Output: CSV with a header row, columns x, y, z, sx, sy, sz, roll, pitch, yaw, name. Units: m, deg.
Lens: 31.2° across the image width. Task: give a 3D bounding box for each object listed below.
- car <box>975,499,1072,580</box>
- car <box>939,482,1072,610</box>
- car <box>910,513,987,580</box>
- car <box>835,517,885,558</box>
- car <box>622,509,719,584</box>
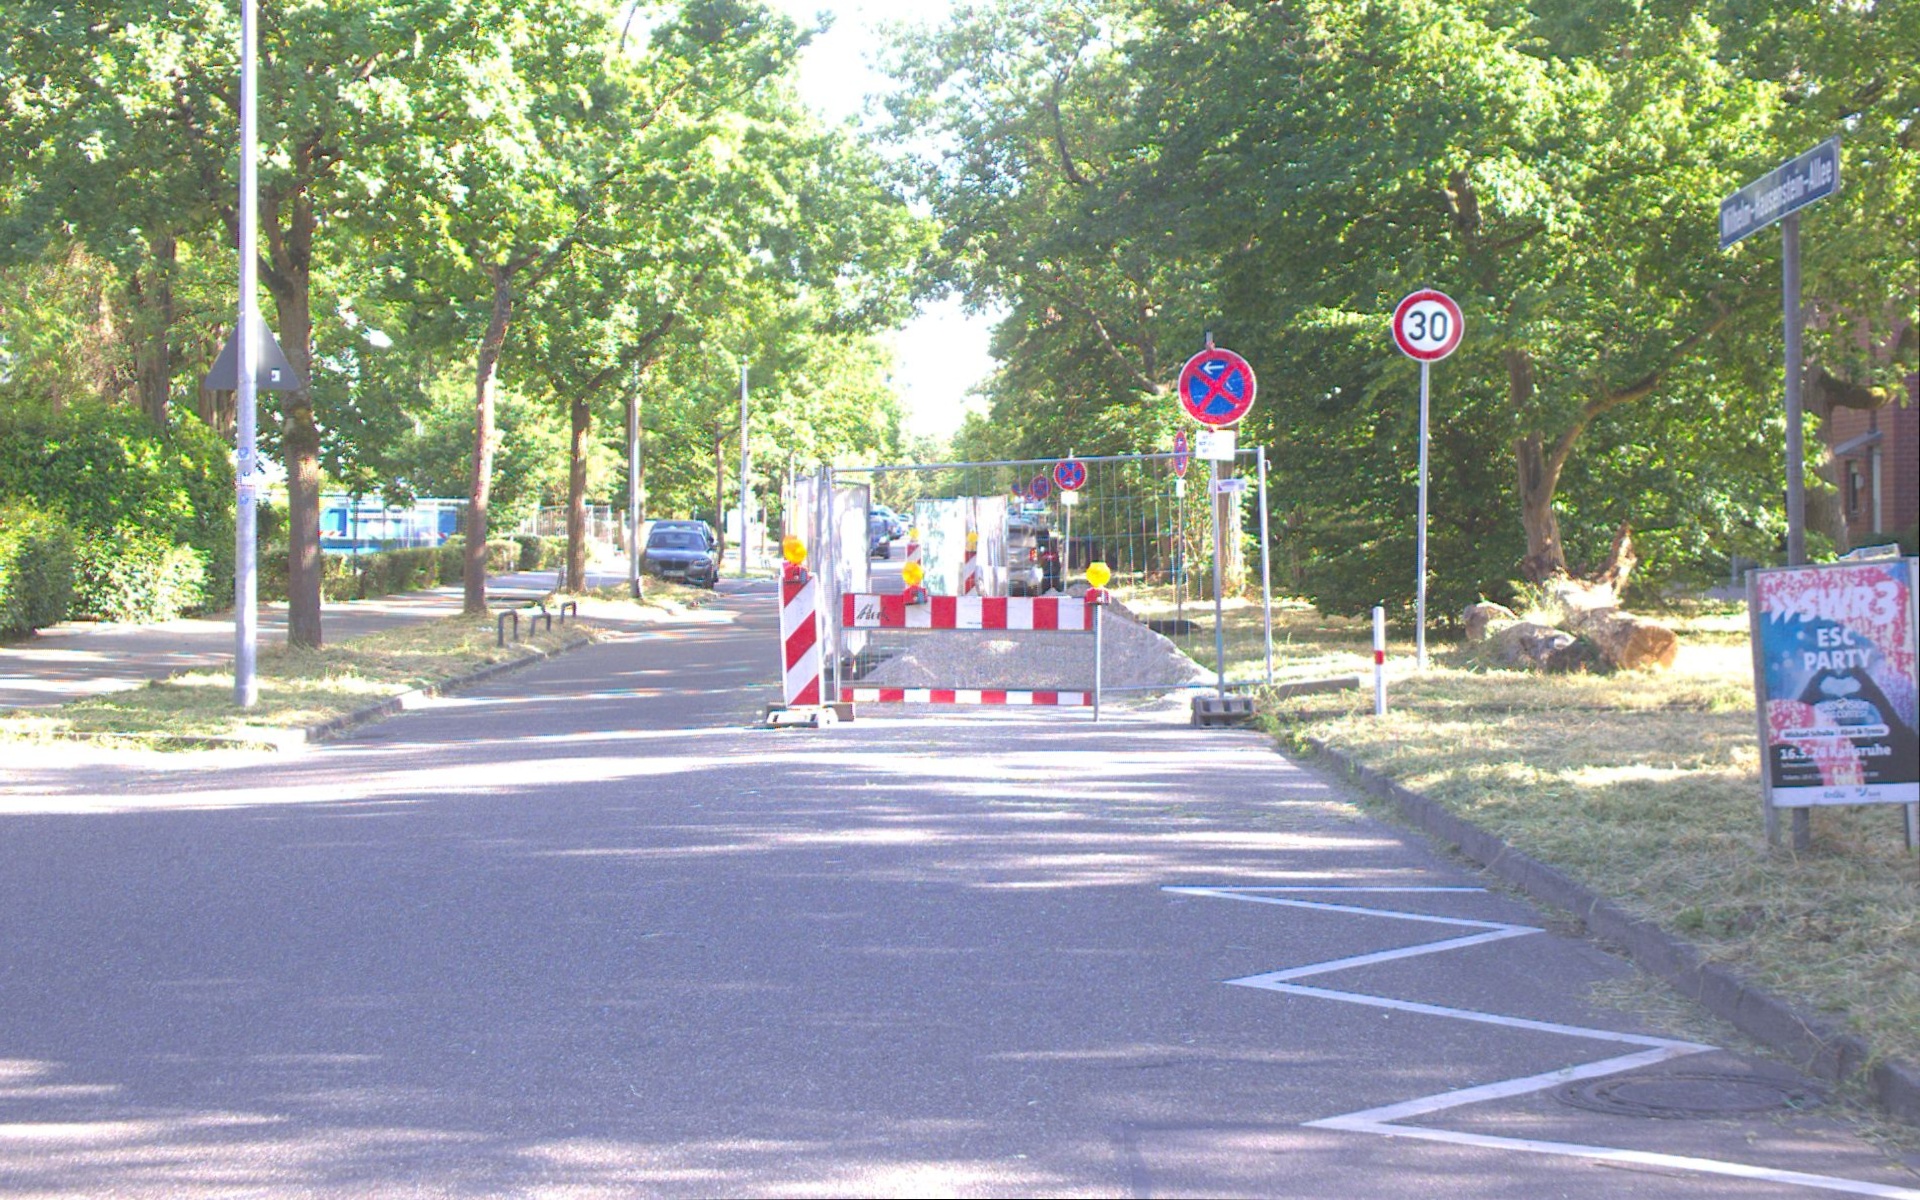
x,y,z,sx,sy,sz,roll,pitch,yaw,name
1.353,-1.330,74.848,1.993,1.710,4.000,0,1,-1,car
0.675,-0.858,53.995,1.993,1.926,4.000,0,1,-1,car
-0.321,-1.423,90.614,1.993,1.710,4.000,0,1,-1,car
-4.142,-2.609,143.125,1.993,1.710,4.000,0,1,-1,car
-6.785,-1.279,81.014,1.993,1.710,4.000,0,1,-1,car
